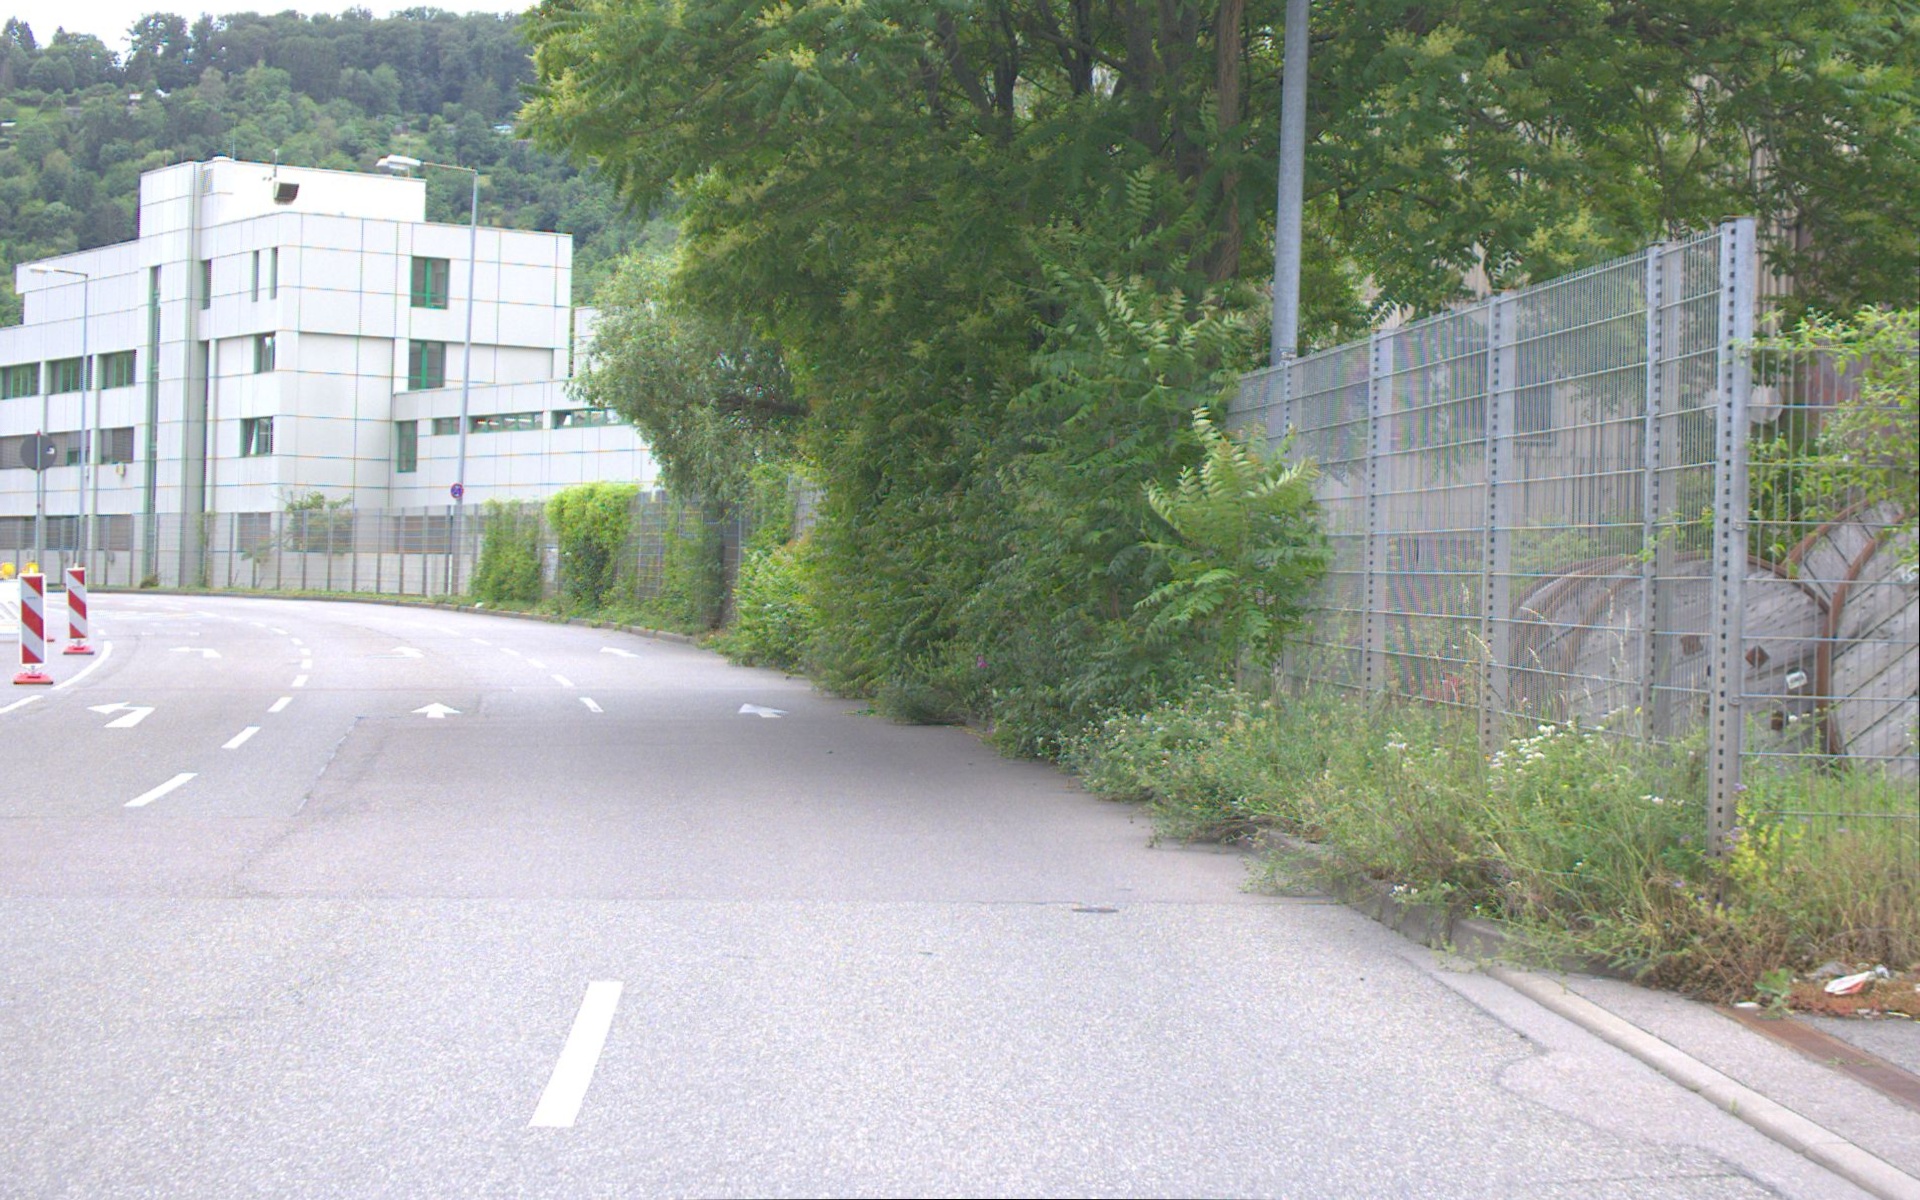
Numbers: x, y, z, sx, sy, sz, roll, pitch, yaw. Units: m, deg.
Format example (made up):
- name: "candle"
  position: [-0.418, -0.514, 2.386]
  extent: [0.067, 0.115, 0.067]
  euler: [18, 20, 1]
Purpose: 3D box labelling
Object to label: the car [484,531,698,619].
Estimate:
- name: "car"
  position: [-10.269, -0.707, 95.382]
  extent: [6.163, 2.255, 1.995]
  euler: [2, -1, 38]
